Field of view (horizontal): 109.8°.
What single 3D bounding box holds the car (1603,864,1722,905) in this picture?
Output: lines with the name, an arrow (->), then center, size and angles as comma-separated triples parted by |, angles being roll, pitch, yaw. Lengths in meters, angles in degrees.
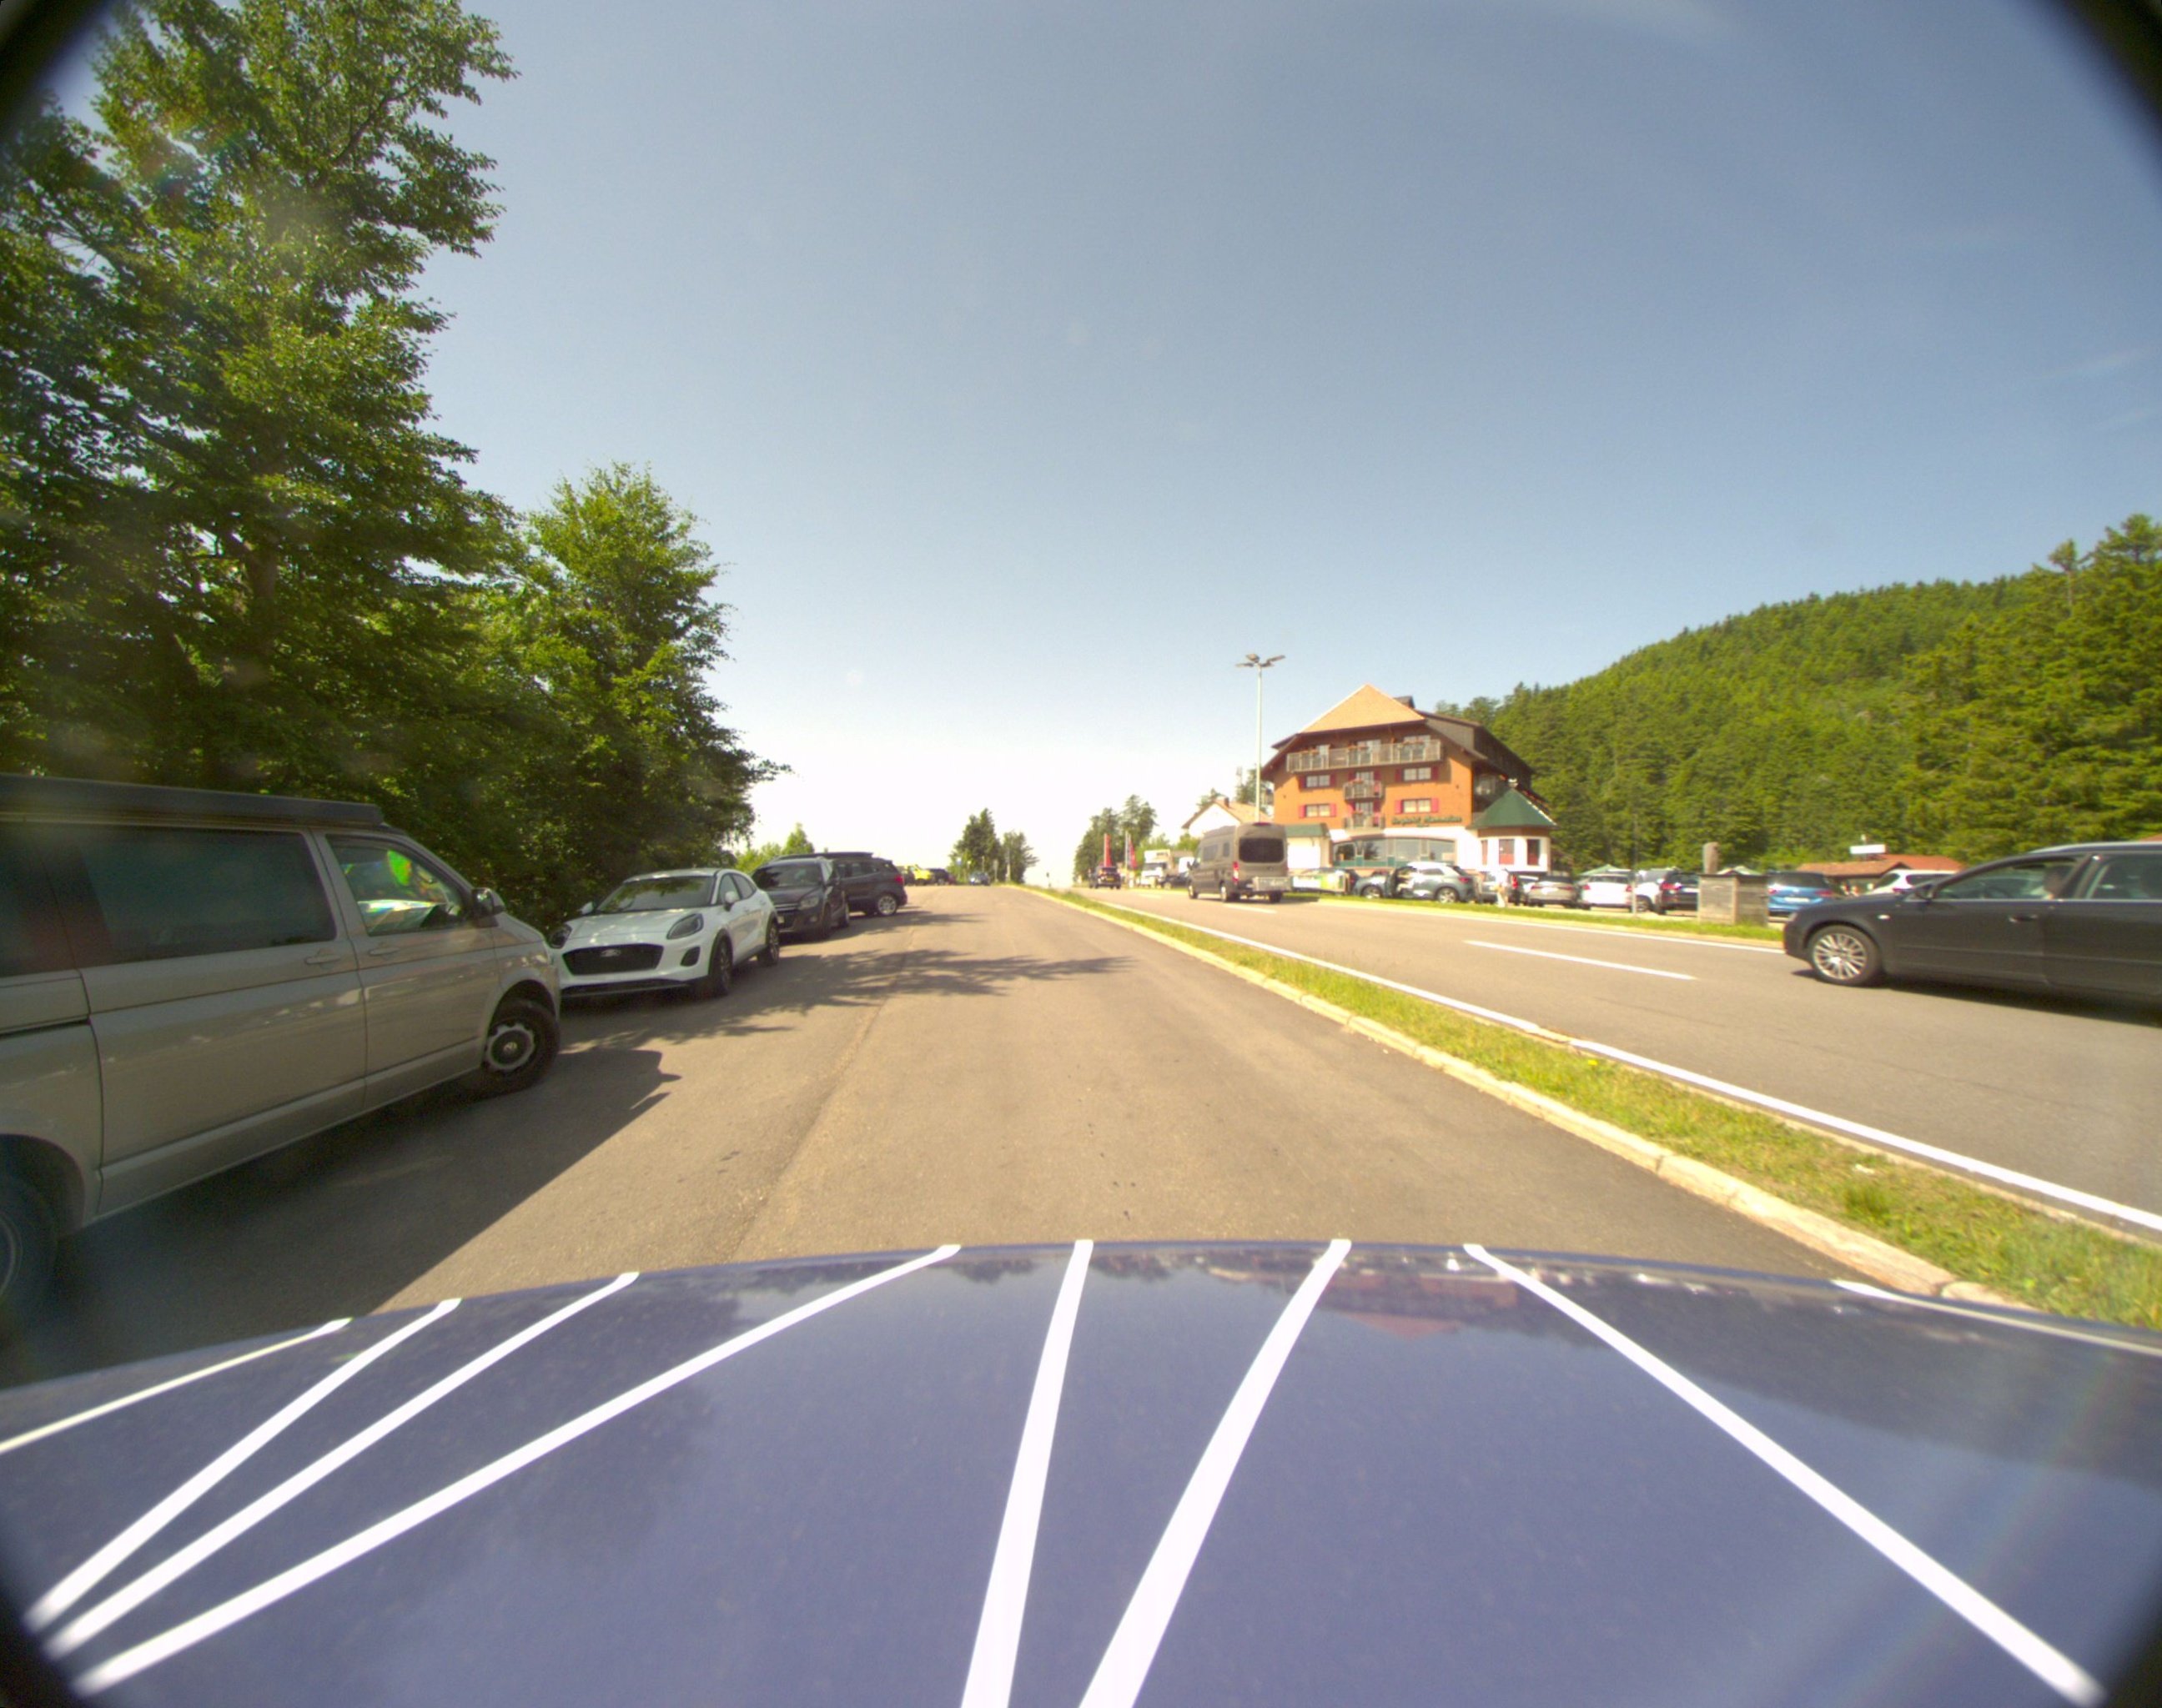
car -> 25.713, 1.311, 33.802 | 4.083, 1.619, 1.828 | 1, 0, 34

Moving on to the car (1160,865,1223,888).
car -> 7.903, 1.586, 54.354 | 4.083, 1.518, 1.828 | 1, 0, 30

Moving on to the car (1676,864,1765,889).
car -> 46.720, 1.617, 55.673 | 4.832, 1.705, 1.925 | 1, 0, 35

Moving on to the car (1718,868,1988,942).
car -> 17.464, 1.080, 17.469 | 1.723, 1.422, 3.994 | 1, 0, -17

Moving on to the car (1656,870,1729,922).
car -> 21.035, 1.367, 26.264 | 1.818, 1.619, 4.104 | 1, 0, 37

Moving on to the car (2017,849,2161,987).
car -> 14.747, 0.790, 8.831 | 4.539, 1.646, 1.726 | 1, 0, 33

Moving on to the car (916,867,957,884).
car -> -14.446, 2.173, 76.203 | 3.912, 1.605, 1.875 | 1, 0, -6

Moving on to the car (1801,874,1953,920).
car -> 33.506, 1.754, 32.169 | 4.083, 1.705, 1.924 | 1, 0, 32

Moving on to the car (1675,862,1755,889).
car -> 43.863, 1.457, 52.692 | 4.083, 1.705, 1.925 | 1, 0, 35

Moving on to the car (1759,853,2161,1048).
car -> 8.704, 0.720, 6.378 | 1.711, 1.429, 4.447 | 0, 0, -8

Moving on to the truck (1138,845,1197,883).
truck -> 9.374, 1.118, 81.105 | 2.877, 3.798, 9.035 | -2, -1, 29

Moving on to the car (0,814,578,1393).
car -> -4.660, 0.883, 3.496 | 1.862, 1.924, 4.607 | -3, 0, -6

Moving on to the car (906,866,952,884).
car -> -13.891, 1.904, 69.557 | 3.912, 1.605, 1.875 | 1, 0, -6

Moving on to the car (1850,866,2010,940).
car -> 22.187, 1.198, 20.059 | 1.915, 1.705, 4.104 | 1, 0, 35

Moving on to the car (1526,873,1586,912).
car -> 20.402, 1.599, 32.554 | 1.818, 1.504, 4.104 | 1, 0, 37

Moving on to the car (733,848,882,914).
car -> -9.328, 0.869, 25.945 | 4.466, 1.914, 1.872 | -3, 0, -28

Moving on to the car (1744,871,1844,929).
car -> 22.220, 1.361, 23.827 | 1.818, 1.619, 4.104 | 1, 0, 37

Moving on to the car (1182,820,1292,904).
car -> 5.494, 0.292, 27.773 | 2.018, 2.735, 5.912 | 0, 0, -8

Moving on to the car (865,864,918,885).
car -> -15.046, 1.657, 60.526 | 3.912, 1.605, 1.875 | 1, 0, -6

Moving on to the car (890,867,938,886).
car -> -14.618, 1.958, 66.583 | 3.912, 1.605, 1.875 | 1, 0, -6

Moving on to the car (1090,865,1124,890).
car -> 1.852, 1.698, 55.569 | 1.722, 1.672, 4.127 | 0, 0, -9

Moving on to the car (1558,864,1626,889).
car -> 37.625, 1.623, 55.973 | 4.083, 1.705, 1.925 | 1, 0, 35

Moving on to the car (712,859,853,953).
car -> -6.080, 0.971, 15.973 | 1.876, 1.609, 3.997 | -3, 0, -9

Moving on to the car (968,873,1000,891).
car -> -9.289, 2.684, 73.063 | 1.873, 1.605, 3.917 | 0, 0, 12

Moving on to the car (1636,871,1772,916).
car -> 25.084, 1.533, 30.813 | 4.083, 1.619, 1.828 | 1, 0, 34

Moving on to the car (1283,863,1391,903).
car -> 11.499, 1.262, 34.262 | 4.258, 1.619, 1.828 | 1, 0, 34

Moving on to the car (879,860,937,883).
car -> -14.388, 1.448, 63.368 | 4.460, 1.914, 1.875 | 1, 0, -6

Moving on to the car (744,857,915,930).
car -> -6.738, 0.993, 20.393 | 4.005, 1.609, 1.872 | -3, 0, -28

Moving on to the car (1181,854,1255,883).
car -> 13.340, 1.377, 74.231 | 6.954, 2.774, 2.669 | 0, 0, 10

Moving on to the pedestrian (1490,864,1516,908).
pedestrian -> 15.653, 1.184, 28.210 | 0.744, 1.615, 0.684 | 1, 0, 21

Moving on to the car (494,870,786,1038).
car -> -5.265, 1.049, 9.784 | 1.876, 1.538, 3.997 | -3, 0, -9

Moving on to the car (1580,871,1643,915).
car -> 20.363, 1.417, 29.108 | 1.818, 1.504, 4.104 | 1, 0, 37

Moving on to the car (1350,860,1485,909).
car -> 12.310, 1.069, 27.889 | 4.258, 1.619, 1.828 | 1, 0, 34

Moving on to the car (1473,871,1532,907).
car -> 19.584, 1.557, 35.240 | 1.818, 1.504, 4.104 | 1, 0, 37

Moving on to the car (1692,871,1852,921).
car -> 24.973, 1.463, 27.684 | 4.083, 1.619, 1.828 | 1, 0, 34
